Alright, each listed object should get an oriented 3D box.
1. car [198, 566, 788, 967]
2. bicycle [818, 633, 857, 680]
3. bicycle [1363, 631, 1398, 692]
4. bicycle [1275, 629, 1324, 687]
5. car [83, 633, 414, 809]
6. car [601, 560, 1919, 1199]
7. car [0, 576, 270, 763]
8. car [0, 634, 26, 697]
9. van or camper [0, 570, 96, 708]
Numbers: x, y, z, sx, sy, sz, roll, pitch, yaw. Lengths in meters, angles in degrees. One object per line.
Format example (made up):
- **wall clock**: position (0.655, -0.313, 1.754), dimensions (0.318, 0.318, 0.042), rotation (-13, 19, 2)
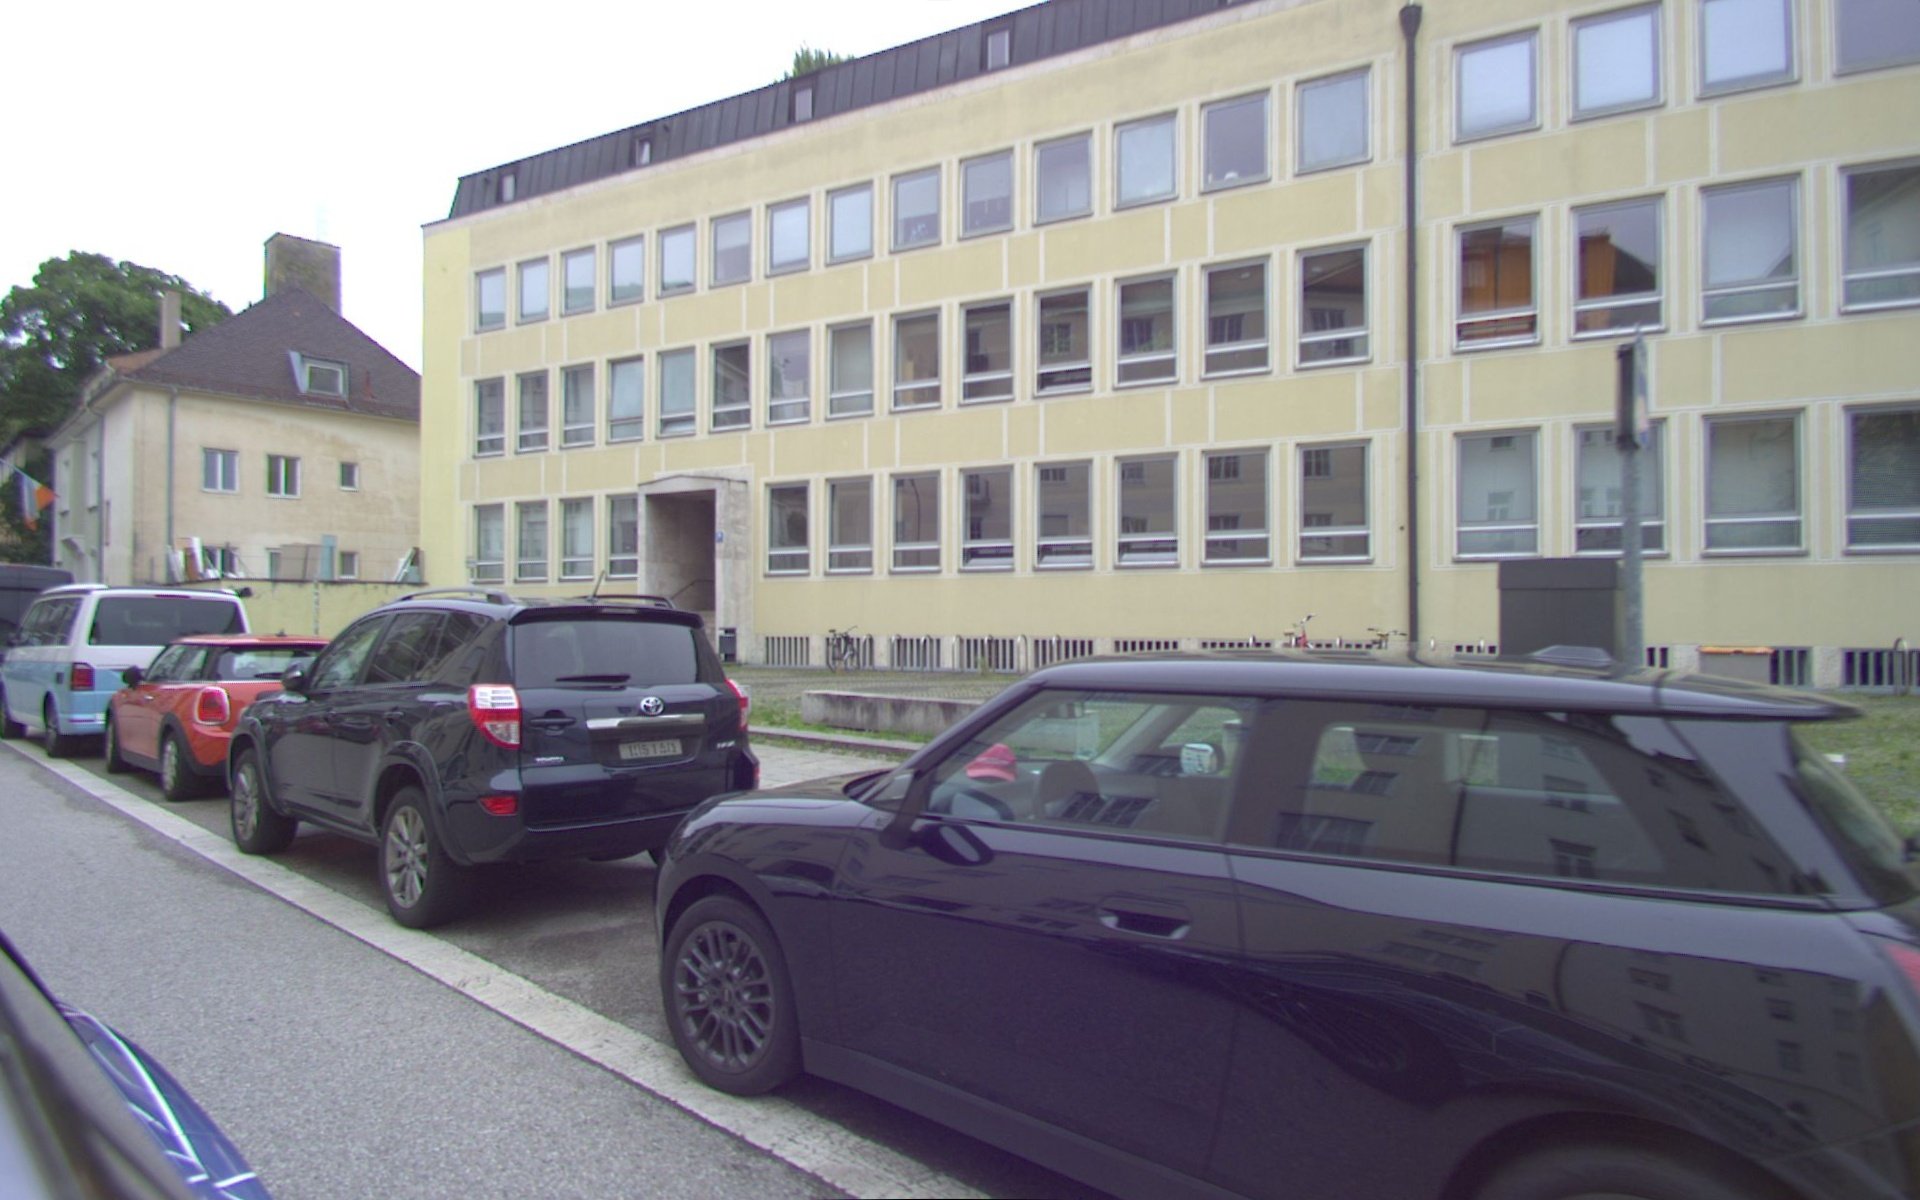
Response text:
- **car**: position (-3.092, 0.787, 6.304), dimensions (4.137, 1.702, 1.697), rotation (-2, -3, 40)
- **bicycle**: position (-2.696, 1.237, 22.421), dimensions (0.410, 0.952, 1.406), rotation (-1, 0, 12)
- **bicycle**: position (7.195, 1.027, 17.283), dimensions (0.412, 0.952, 1.398), rotation (-1, 0, 28)
- **bicycle**: position (6.176, 1.035, 18.384), dimensions (0.413, 0.952, 1.394), rotation (-1, 0, 37)
- **car**: position (-7.155, 1.065, 10.062), dimensions (3.706, 1.417, 1.786), rotation (-2, -4, 41)
- **car**: position (0.707, 0.753, 2.953), dimensions (3.817, 1.506, 1.614), rotation (-2, -3, 41)
- **car**: position (-10.883, 0.848, 13.024), dimensions (4.955, 1.975, 1.896), rotation (-2, -4, 39)
- **car**: position (-24.666, 1.588, 25.029), dimensions (3.903, 1.508, 1.637), rotation (-1, -4, 38)
- **van or camper**: position (-20.576, 0.832, 21.763), dimensions (5.560, 2.671, 2.268), rotation (-2, -4, 43)
